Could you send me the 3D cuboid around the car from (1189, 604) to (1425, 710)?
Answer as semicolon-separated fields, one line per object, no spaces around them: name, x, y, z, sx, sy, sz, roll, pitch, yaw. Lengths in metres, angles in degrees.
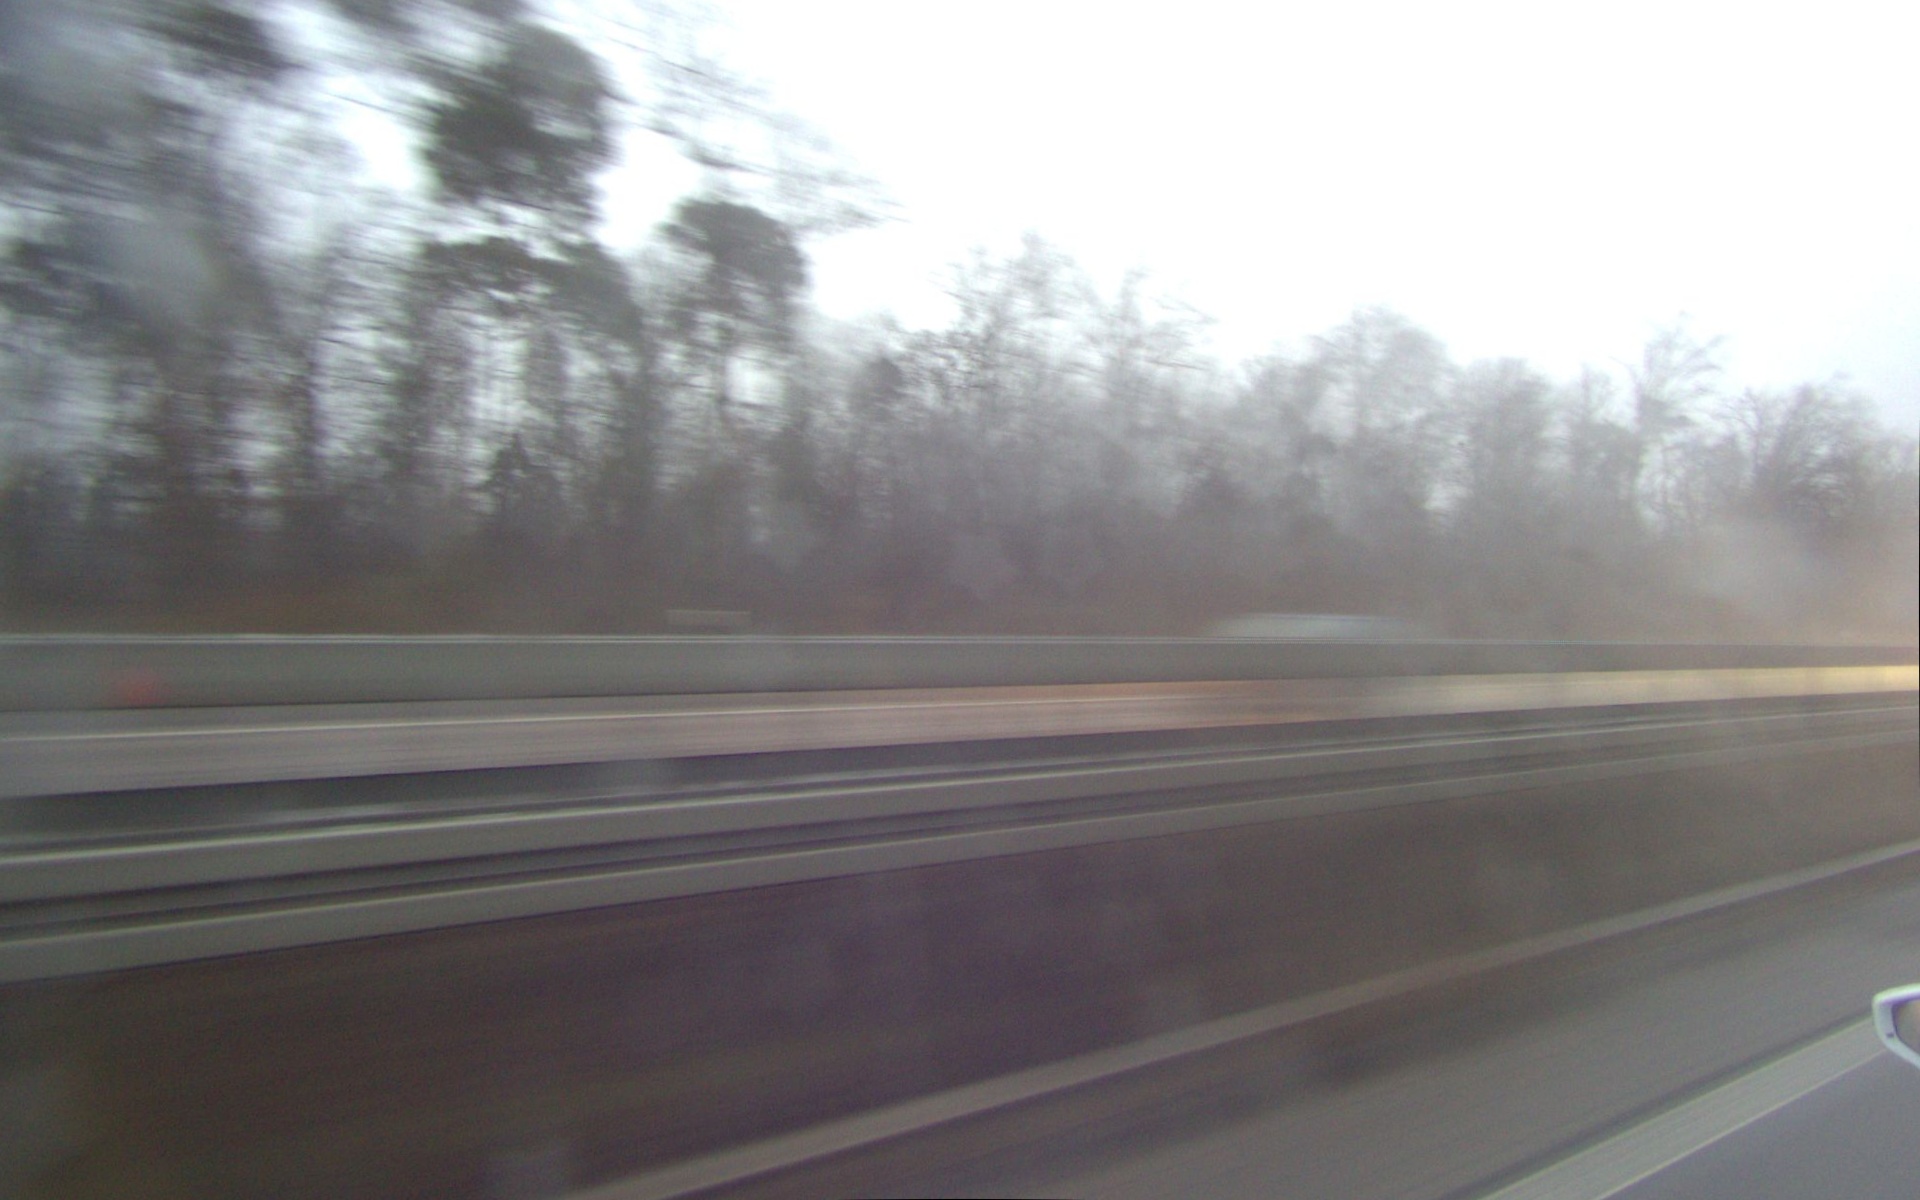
car;5.553;0.853;15.989;3.607;1.500;1.634;1;0;-31
